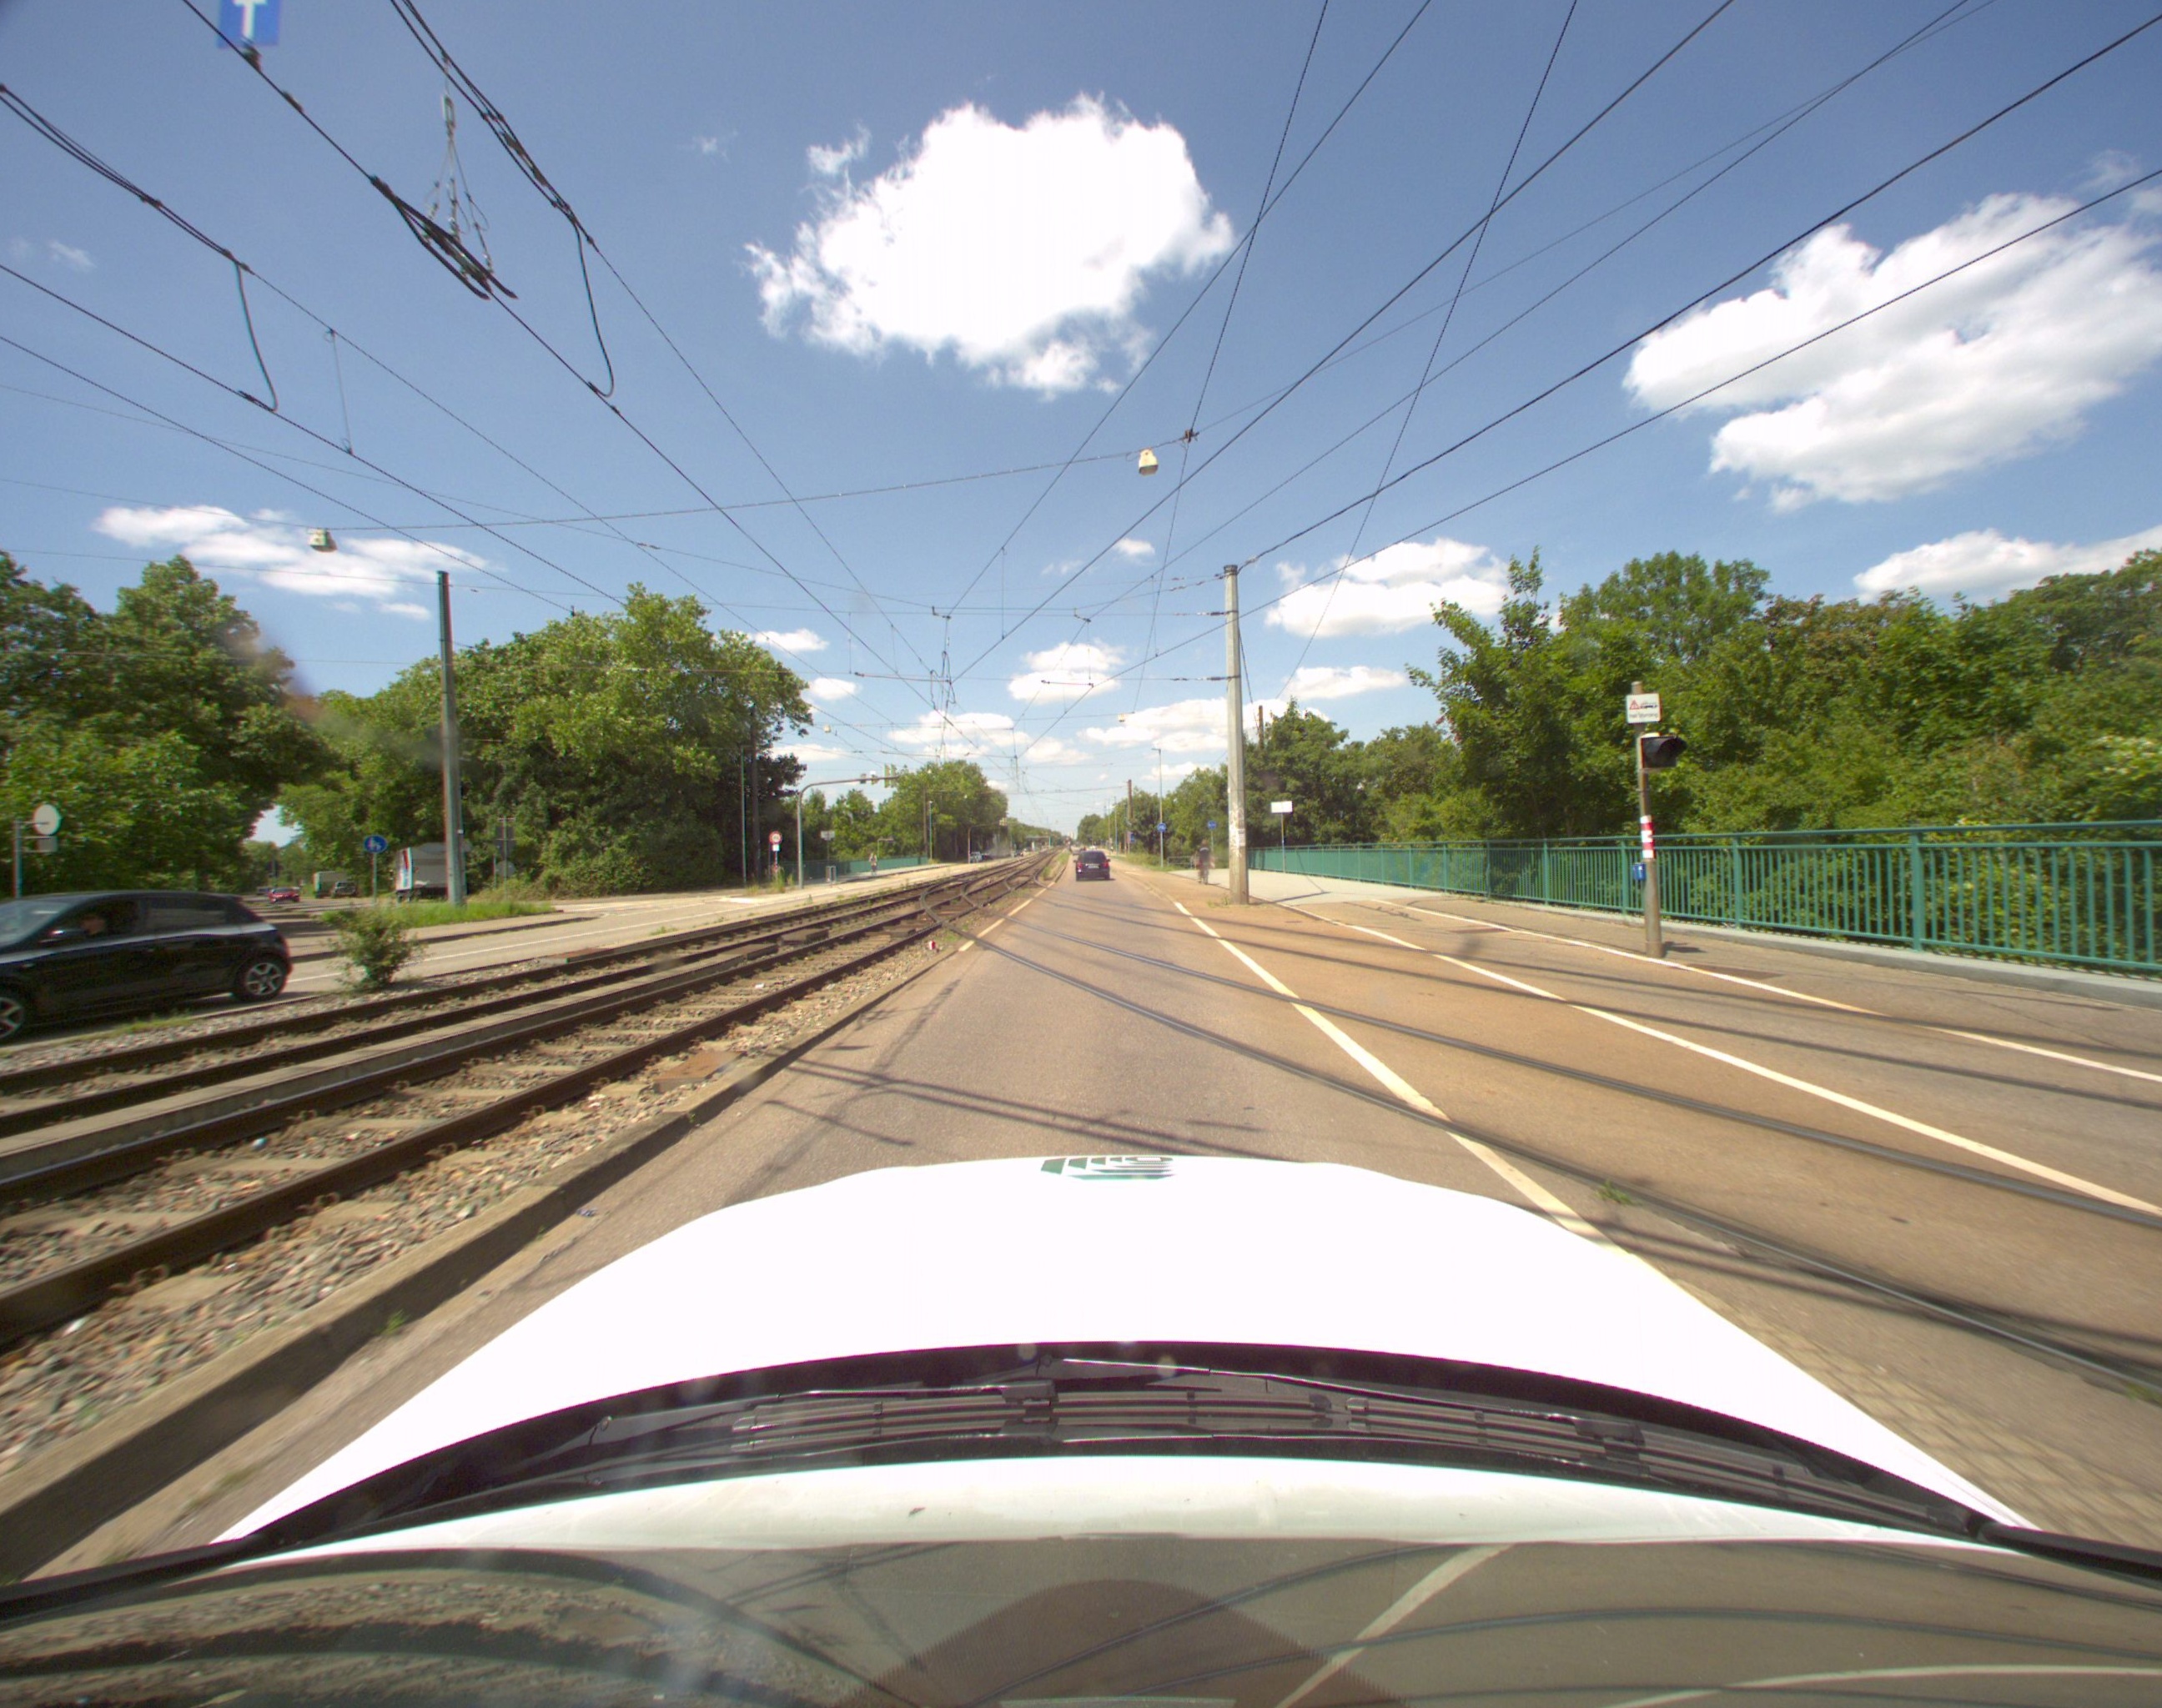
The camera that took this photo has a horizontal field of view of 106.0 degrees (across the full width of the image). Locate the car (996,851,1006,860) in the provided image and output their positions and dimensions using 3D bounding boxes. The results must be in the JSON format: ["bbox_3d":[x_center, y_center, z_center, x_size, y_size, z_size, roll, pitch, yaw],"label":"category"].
[{"bbox_3d":[-17.642,0.309,179.835,1.848,2.013,4.000,0,1,0],"label":"car"}]

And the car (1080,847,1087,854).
[{"bbox_3d":[0.695,-1.123,237.078,1.781,2.013,3.999,0,1,-1],"label":"car"}]

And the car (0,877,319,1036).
[{"bbox_3d":[-11.682,1.106,9.609,1.697,1.510,3.737,-2,0,4],"label":"car"}]

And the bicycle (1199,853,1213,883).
[{"bbox_3d":[5.037,0.551,32.908,0.430,1.152,1.857,0,1,4],"label":"bicycle"}]

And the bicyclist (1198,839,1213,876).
[{"bbox_3d":[5.031,0.133,32.949,0.582,1.494,0.558,0,1,4],"label":"bicyclist"}]

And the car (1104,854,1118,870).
[{"bbox_3d":[4.234,1.122,114.887,1.986,2.013,4.002,0,1,1],"label":"car"}]

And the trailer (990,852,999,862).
[{"bbox_3d":[-17.555,0.636,164.624,1.606,2.013,3.911,0,0,-4],"label":"trailer"}]

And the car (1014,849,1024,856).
[{"bbox_3d":[-14.211,-0.320,186.324,1.870,1.720,5.327,-1,0,-1],"label":"car"}]

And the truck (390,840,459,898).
[{"bbox_3d":[-43.957,0.949,54.474,5.225,3.655,2.865,0,0,43],"label":"truck"}]

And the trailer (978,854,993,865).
[{"bbox_3d":[-16.795,0.980,144.194,2.458,1.889,5.951,0,0,-5],"label":"trailer"}]

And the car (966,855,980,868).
[{"bbox_3d":[-17.041,1.167,128.556,1.715,1.630,4.613,-4,2,-2],"label":"car"}]

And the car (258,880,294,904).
[{"bbox_3d":[-73.171,3.395,73.996,3.949,2.013,2.012,-1,0,40],"label":"car"}]

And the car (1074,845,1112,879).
[{"bbox_3d":[0.697,0.380,43.026,1.845,1.570,4.392,0,2,3],"label":"car"}]

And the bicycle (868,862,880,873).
[{"bbox_3d":[-16.771,1.086,65.965,0.467,0.868,1.743,-1,0,2],"label":"bicycle"}]

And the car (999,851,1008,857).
[{"bbox_3d":[-18.299,0.084,191.362,1.866,1.401,4.414,0,0,-3],"label":"car"}]

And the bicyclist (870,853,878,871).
[{"bbox_3d":[-16.772,0.622,66.005,0.454,1.474,0.633,-1,0,2],"label":"bicyclist"}]

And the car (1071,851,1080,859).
[{"bbox_3d":[-1.229,0.195,180.358,1.879,1.639,4.000,3,1,0],"label":"car"}]

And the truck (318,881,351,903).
[{"bbox_3d":[-79.717,4.010,86.975,3.949,2.013,2.013,1,2,39],"label":"truck"}]
